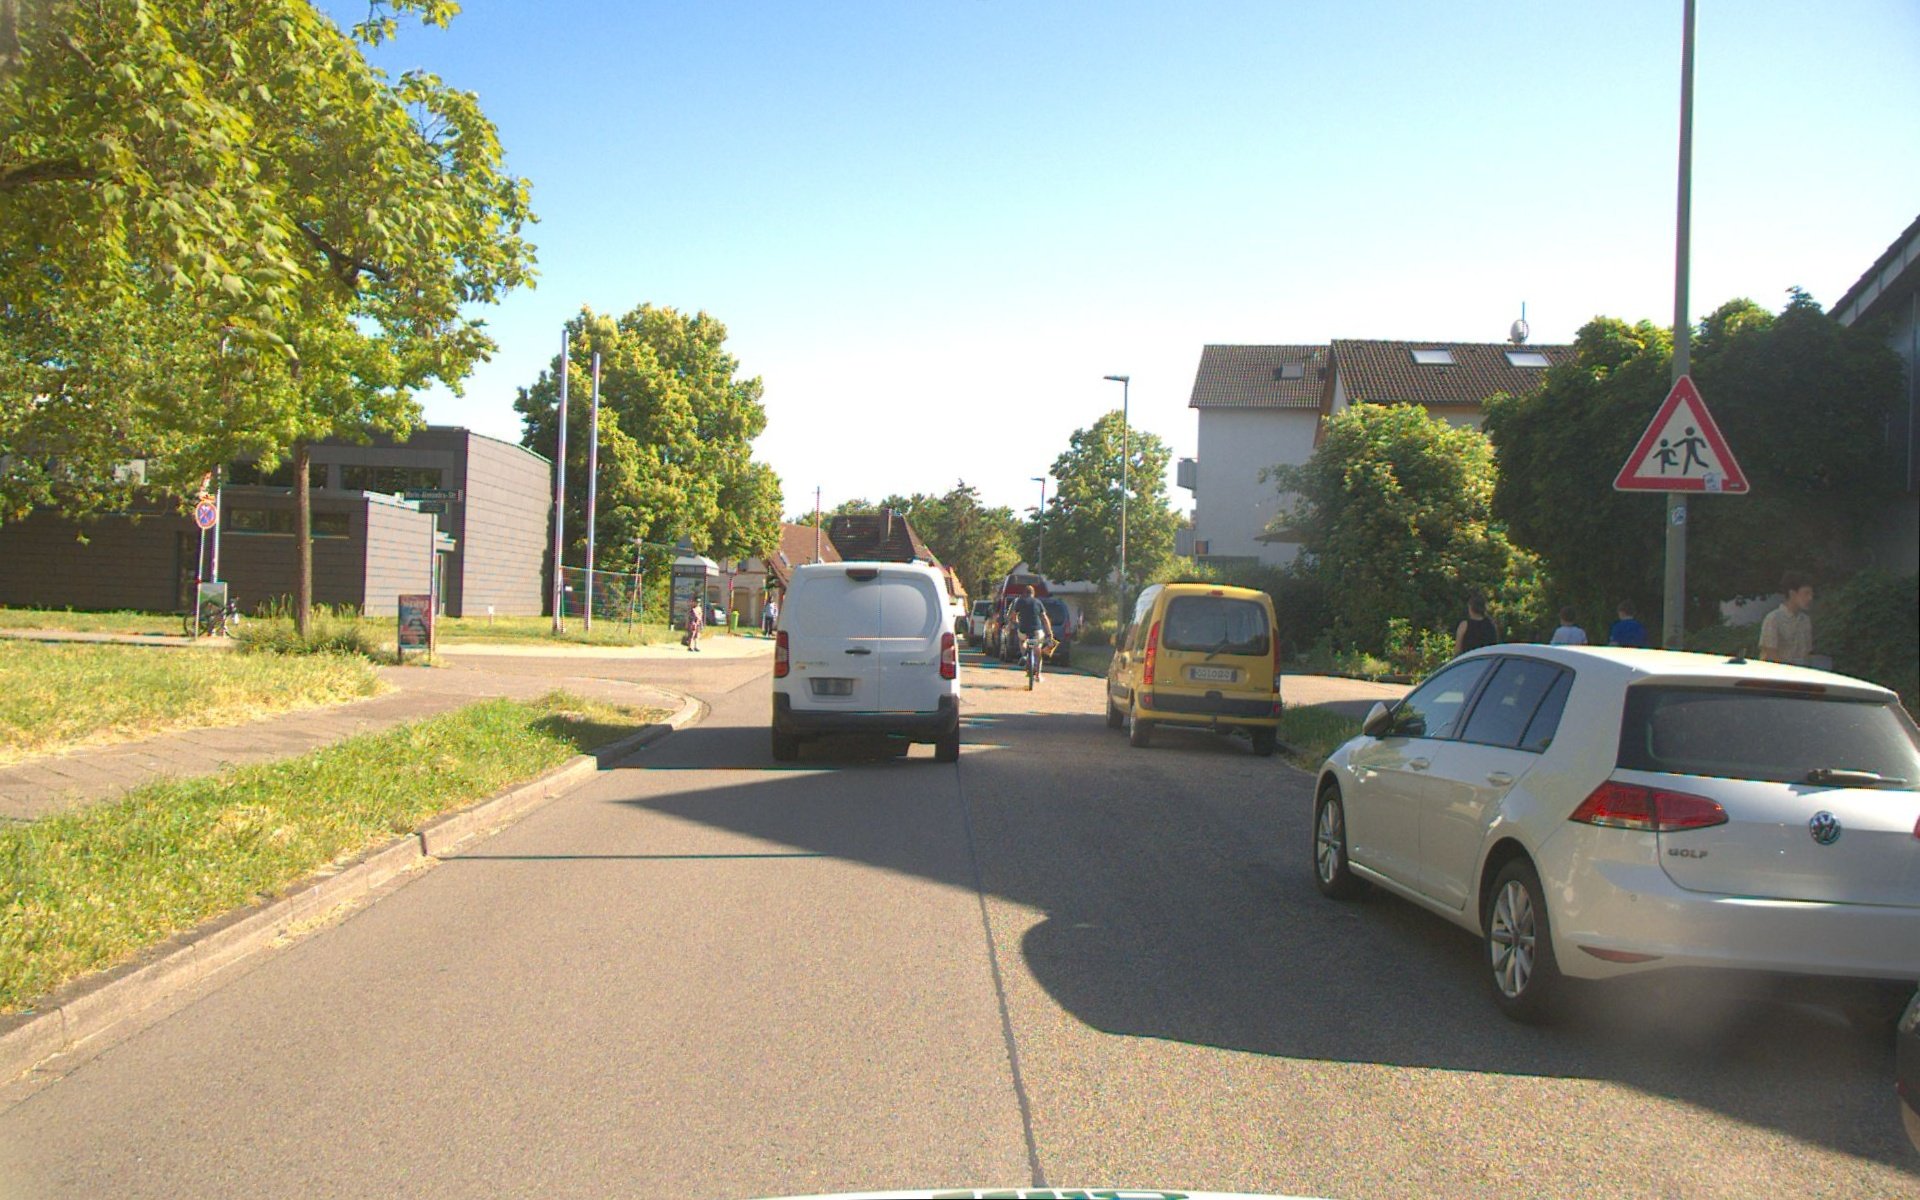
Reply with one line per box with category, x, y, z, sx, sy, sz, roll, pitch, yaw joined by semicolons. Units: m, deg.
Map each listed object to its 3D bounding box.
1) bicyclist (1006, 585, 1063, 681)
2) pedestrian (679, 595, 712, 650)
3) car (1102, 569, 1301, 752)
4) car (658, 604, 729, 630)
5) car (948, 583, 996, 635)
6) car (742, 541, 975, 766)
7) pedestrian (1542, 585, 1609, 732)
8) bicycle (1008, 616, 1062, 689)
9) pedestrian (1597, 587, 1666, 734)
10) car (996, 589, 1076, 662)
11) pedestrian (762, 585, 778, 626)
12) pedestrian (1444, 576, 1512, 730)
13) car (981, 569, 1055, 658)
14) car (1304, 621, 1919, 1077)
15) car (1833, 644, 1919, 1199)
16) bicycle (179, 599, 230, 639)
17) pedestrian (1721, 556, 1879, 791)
bicyclist;1.295;0.570;28.972;0.887;1.612;0.966;2;-1;-1
pedestrian;-7.347;0.618;45.982;0.500;1.470;0.637;5;0;32
car;2.729;0.653;19.505;1.689;1.869;3.999;2;0;0
car;-16.387;1.037;101.668;3.893;1.454;1.716;2;0;16
car;0.512;0.401;72.363;1.768;2.104;3.997;4;-1;-3
car;-0.879;0.472;16.772;1.952;1.914;4.289;2;0;1
pedestrian;7.150;0.664;19.235;0.555;1.665;0.547;2;0;4
bicycle;1.297;0.890;29.009;0.771;1.158;2.279;4;0;0
pedestrian;7.804;0.692;19.247;0.555;1.665;0.547;2;0;4
car;2.077;0.705;46.064;1.768;1.816;3.997;4;-1;-3
pedestrian;-8.666;0.268;75.544;0.608;1.836;0.640;2;-2;-3
pedestrian;5.709;0.574;18.252;0.555;1.665;0.547;2;0;4
car;1.812;0.444;53.167;1.829;2.607;4.765;4;-1;-3
car;3.007;0.893;7.655;1.790;1.477;3.998;2;0;-3
car;3.104;0.889;1.938;1.771;1.468;4.362;2;0;-1
bicycle;-17.733;0.437;38.839;0.432;0.903;1.012;2;1;44
pedestrian;7.053;0.599;13.929;0.779;1.894;0.873;2;0;-9
